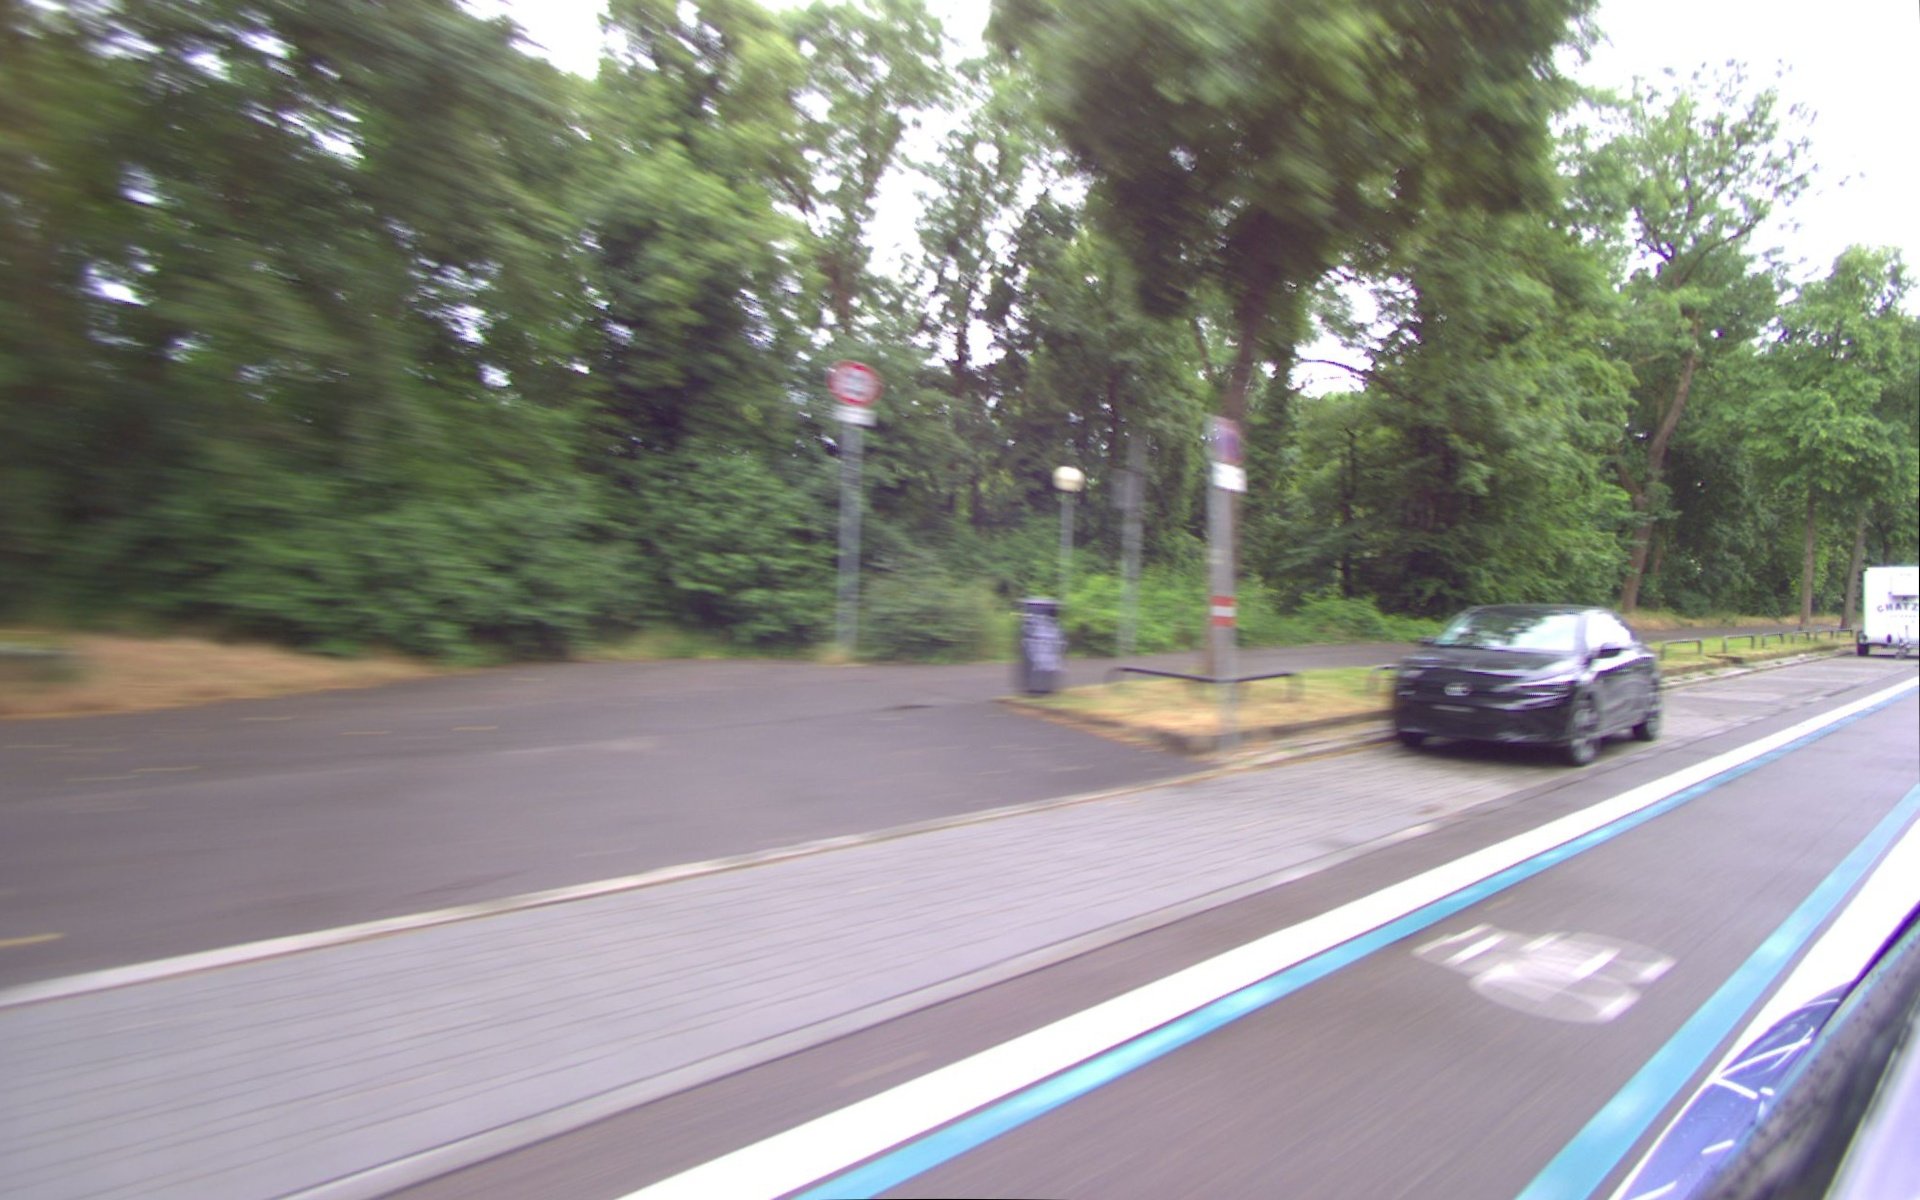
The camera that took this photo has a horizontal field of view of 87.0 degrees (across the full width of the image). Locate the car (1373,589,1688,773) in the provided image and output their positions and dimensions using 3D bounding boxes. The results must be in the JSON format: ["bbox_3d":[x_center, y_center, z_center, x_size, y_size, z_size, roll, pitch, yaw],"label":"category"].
[{"bbox_3d":[5.963,0.675,10.377,3.930,1.495,1.697,0,1,-43],"label":"car"}]

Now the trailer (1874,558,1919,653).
[{"bbox_3d":[27.520,0.160,28.783,3.934,2.597,1.985,0,1,-44],"label":"trailer"}]
